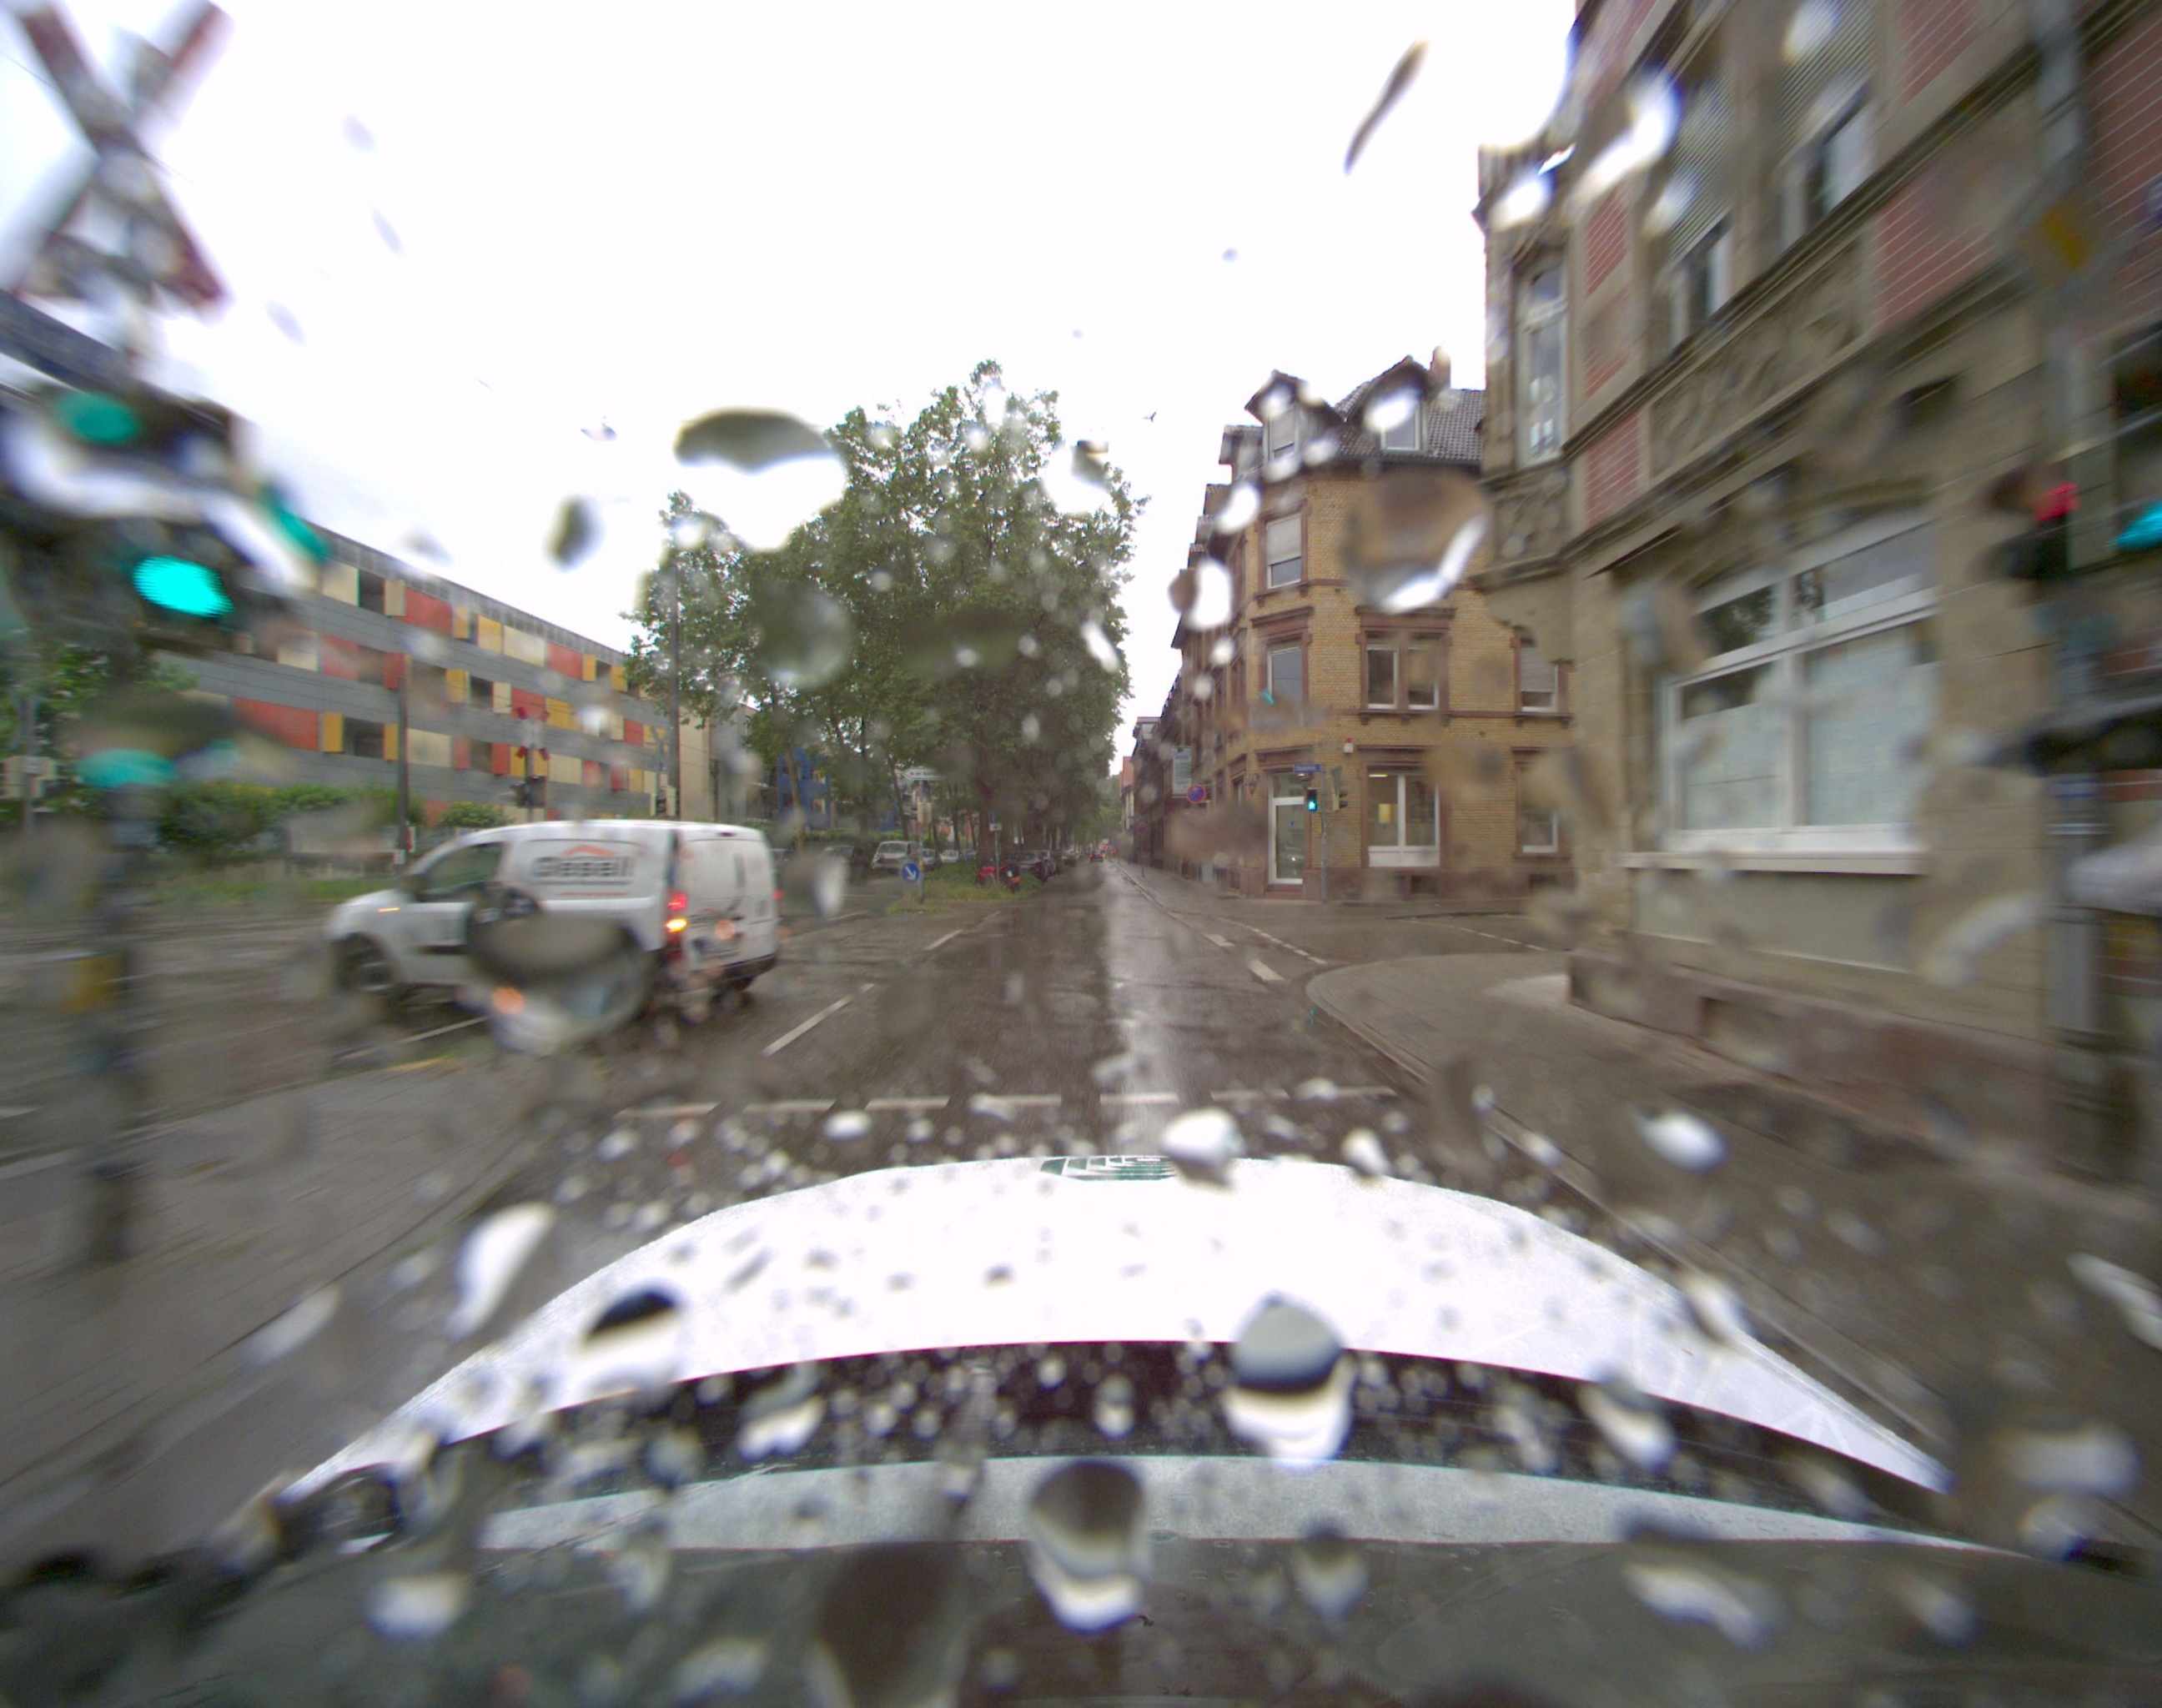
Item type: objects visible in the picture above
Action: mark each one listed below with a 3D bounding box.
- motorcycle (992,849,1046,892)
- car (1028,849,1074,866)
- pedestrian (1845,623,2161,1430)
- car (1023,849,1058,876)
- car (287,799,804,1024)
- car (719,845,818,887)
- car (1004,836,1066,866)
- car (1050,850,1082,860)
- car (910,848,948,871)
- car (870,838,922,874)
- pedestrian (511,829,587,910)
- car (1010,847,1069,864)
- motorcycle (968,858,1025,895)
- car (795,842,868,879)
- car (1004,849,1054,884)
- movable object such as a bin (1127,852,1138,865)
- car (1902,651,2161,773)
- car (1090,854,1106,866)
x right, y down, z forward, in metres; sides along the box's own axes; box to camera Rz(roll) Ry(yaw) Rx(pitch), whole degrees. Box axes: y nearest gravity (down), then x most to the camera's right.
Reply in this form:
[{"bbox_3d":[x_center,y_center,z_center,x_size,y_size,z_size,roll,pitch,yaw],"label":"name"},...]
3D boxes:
[{"bbox_3d":[-2.271,0.595,29.611,2.083,1.500,0.776,1,0,44],"label":"motorcycle"},{"bbox_3d":[-2.836,0.299,76.467,4.013,1.537,1.847,1,1,31],"label":"car"},{"bbox_3d":[2.929,0.403,2.180,0.782,1.913,0.930,-4,0,1],"label":"pedestrian"},{"bbox_3d":[-2.322,0.469,47.639,1.723,1.514,4.208,1,0,1],"label":"car"},{"bbox_3d":[-5.112,0.455,8.044,4.027,1.849,1.945,0,0,11],"label":"car"},{"bbox_3d":[-11.807,0.411,31.086,1.896,1.463,4.391,0,0,2],"label":"car"},{"bbox_3d":[-3.709,-0.240,65.106,4.600,2.283,2.025,-1,0,34],"label":"car"},{"bbox_3d":[-2.276,0.175,121.579,4.502,1.482,1.786,-1,0,31],"label":"car"},{"bbox_3d":[-10.788,0.380,58.171,1.898,1.534,4.215,0,0,0],"label":"car"},{"bbox_3d":[-11.037,0.081,49.004,2.049,1.997,5.430,2,0,-2],"label":"car"},{"bbox_3d":[-12.189,0.352,18.700,0.932,1.800,1.206,0,-1,1],"label":"pedestrian"},{"bbox_3d":[-3.434,0.111,67.880,4.601,1.326,1.858,-1,0,28],"label":"car"},{"bbox_3d":[-3.008,0.779,28.899,0.874,1.209,2.116,1,0,-45],"label":"motorcycle"},{"bbox_3d":[-11.504,0.286,37.831,1.897,1.600,4.469,0,0,1],"label":"car"},{"bbox_3d":[-2.347,0.530,37.783,1.889,1.485,4.622,1,0,1],"label":"car"},{"bbox_3d":[5.380,0.462,85.453,1.017,1.301,1.367,-4,1,1],"label":"movable object such as a bin"},{"bbox_3d":[22.834,-3.285,19.342,4.722,2.512,2.120,0,0,-4],"label":"car"},{"bbox_3d":[2.261,0.795,108.246,1.987,1.640,4.000,1,0,1],"label":"car"}]
